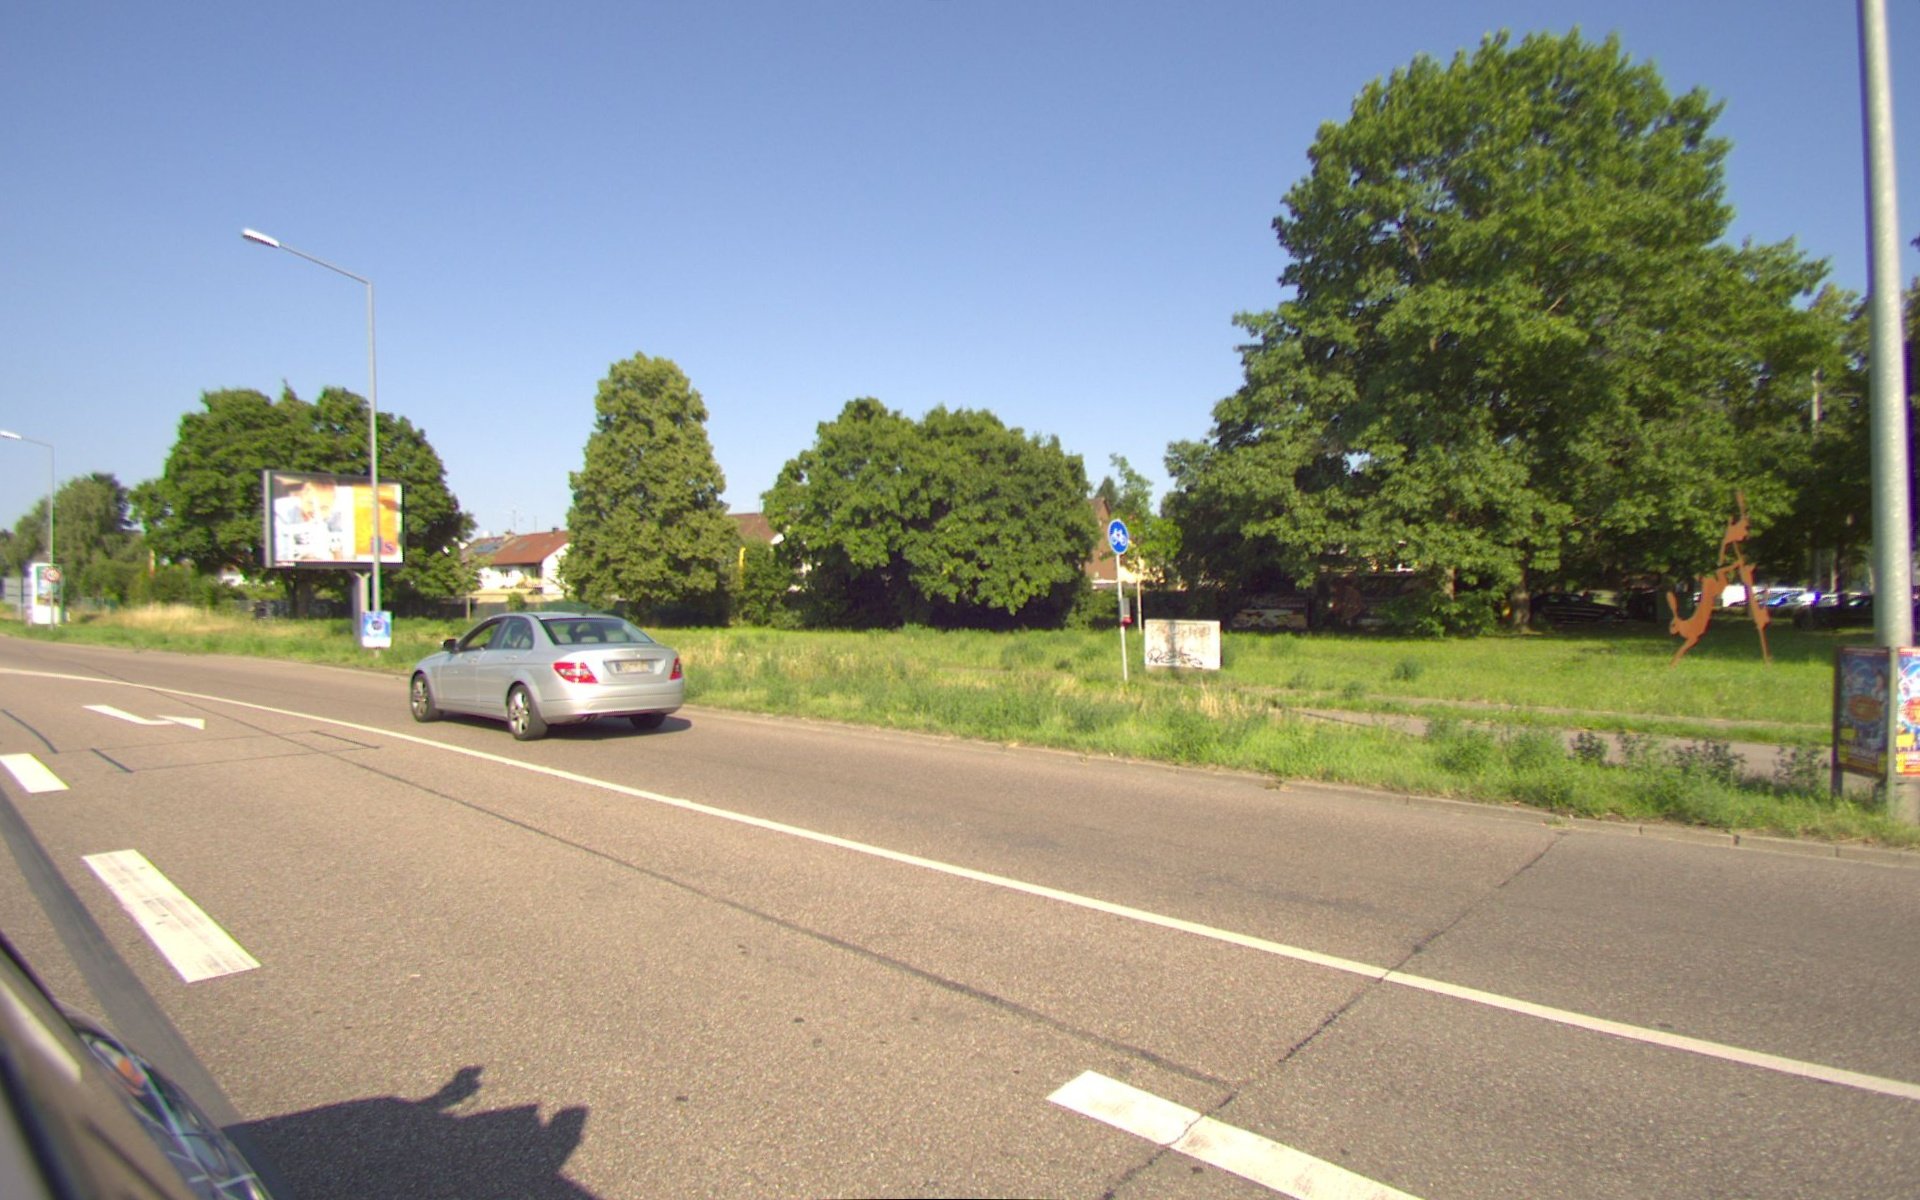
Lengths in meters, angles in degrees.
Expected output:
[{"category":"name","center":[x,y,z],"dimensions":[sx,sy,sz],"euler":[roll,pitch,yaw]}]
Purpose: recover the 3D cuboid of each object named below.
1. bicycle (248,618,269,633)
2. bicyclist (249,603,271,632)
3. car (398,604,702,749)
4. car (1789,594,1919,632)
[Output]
[{"category":"bicycle","center":[-35.108,1.266,50.623],"dimensions":[1.833,0.759,0.449],"euler":[-1,0,41]},{"category":"bicyclist","center":[-34.960,0.855,50.531],"dimensions":[1.071,1.439,0.630],"euler":[-1,0,41]},{"category":"car","center":[-5.159,0.817,12.438],"dimensions":[4.368,1.476,1.684],"euler":[-1,-2,42]},{"category":"car","center":[34.070,0.463,37.660],"dimensions":[1.499,1.330,4.786],"euler":[-1,0,-26]}]
